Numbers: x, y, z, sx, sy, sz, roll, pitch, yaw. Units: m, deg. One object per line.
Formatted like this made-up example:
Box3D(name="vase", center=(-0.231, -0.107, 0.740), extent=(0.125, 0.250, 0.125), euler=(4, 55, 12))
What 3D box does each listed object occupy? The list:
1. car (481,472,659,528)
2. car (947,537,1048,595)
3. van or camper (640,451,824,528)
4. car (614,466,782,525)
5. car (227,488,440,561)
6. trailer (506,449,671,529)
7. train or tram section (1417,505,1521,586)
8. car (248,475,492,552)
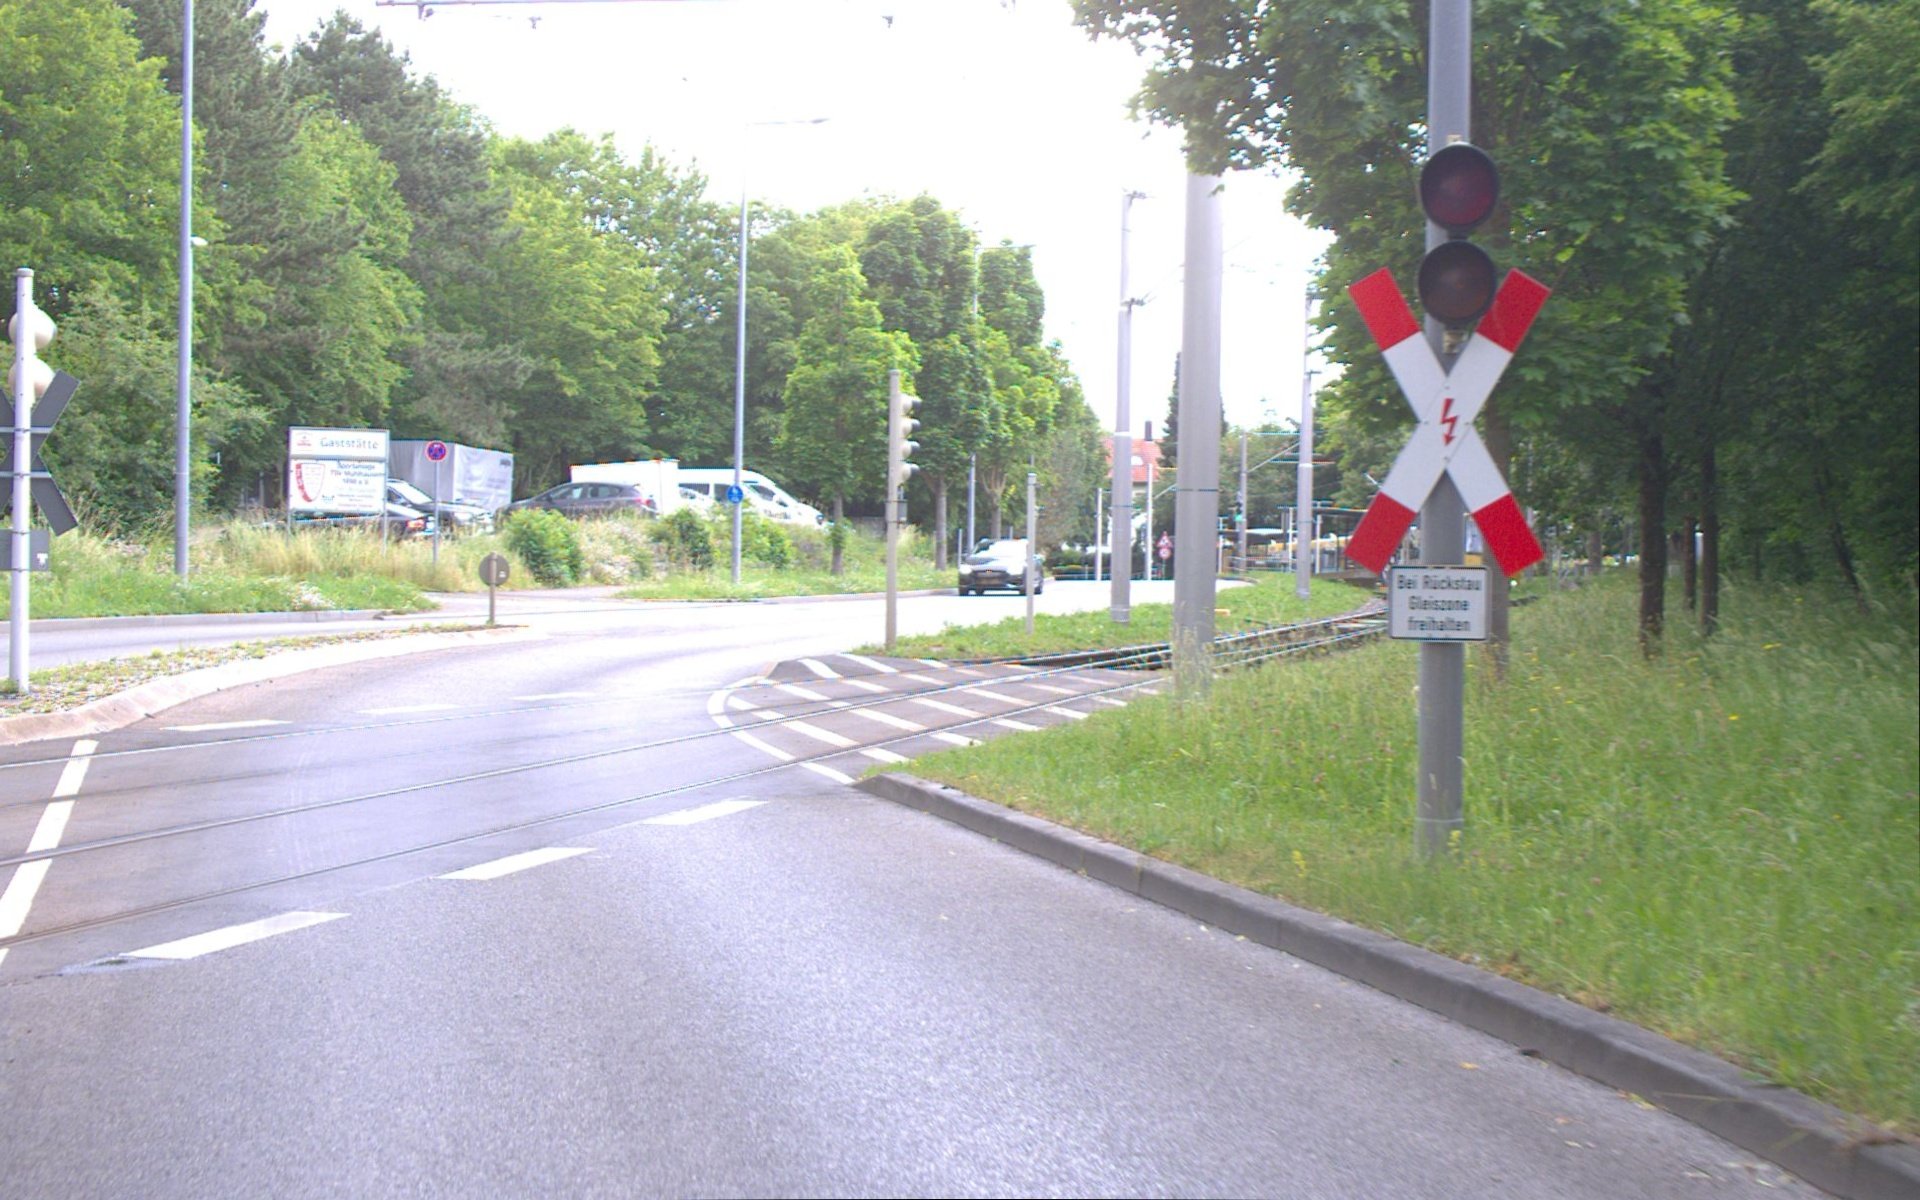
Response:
Box3D(name="car", center=(-10.150, -2.594, 89.651), extent=(4.312, 1.443, 1.836), euler=(0, 1, 5))
Box3D(name="car", center=(0.994, -0.903, 89.290), extent=(1.994, 1.433, 4.424), euler=(0, 1, 9))
Box3D(name="van or camper", center=(-7.077, -3.437, 106.837), extent=(5.335, 2.195, 1.999), euler=(2, 2, 9))
Box3D(name="car", center=(-7.938, -3.166, 104.416), extent=(4.646, 1.650, 1.999), euler=(2, 1, 16))
Box3D(name="car", center=(-13.160, -1.592, 72.322), extent=(3.955, 1.392, 2.000), euler=(2, 2, 7))
Box3D(name="trailer", center=(-10.005, -2.996, 92.706), extent=(3.989, 2.006, 1.907), euler=(2, 2, 12))
Box3D(name="train or tram section", center=(23.743, -2.665, 162.263), extent=(3.008, 3.299, 34.705), euler=(2, 1, 6))
Box3D(name="car", center=(-13.269, -1.946, 77.463), extent=(4.927, 1.579, 2.206), euler=(2, 1, 8))
